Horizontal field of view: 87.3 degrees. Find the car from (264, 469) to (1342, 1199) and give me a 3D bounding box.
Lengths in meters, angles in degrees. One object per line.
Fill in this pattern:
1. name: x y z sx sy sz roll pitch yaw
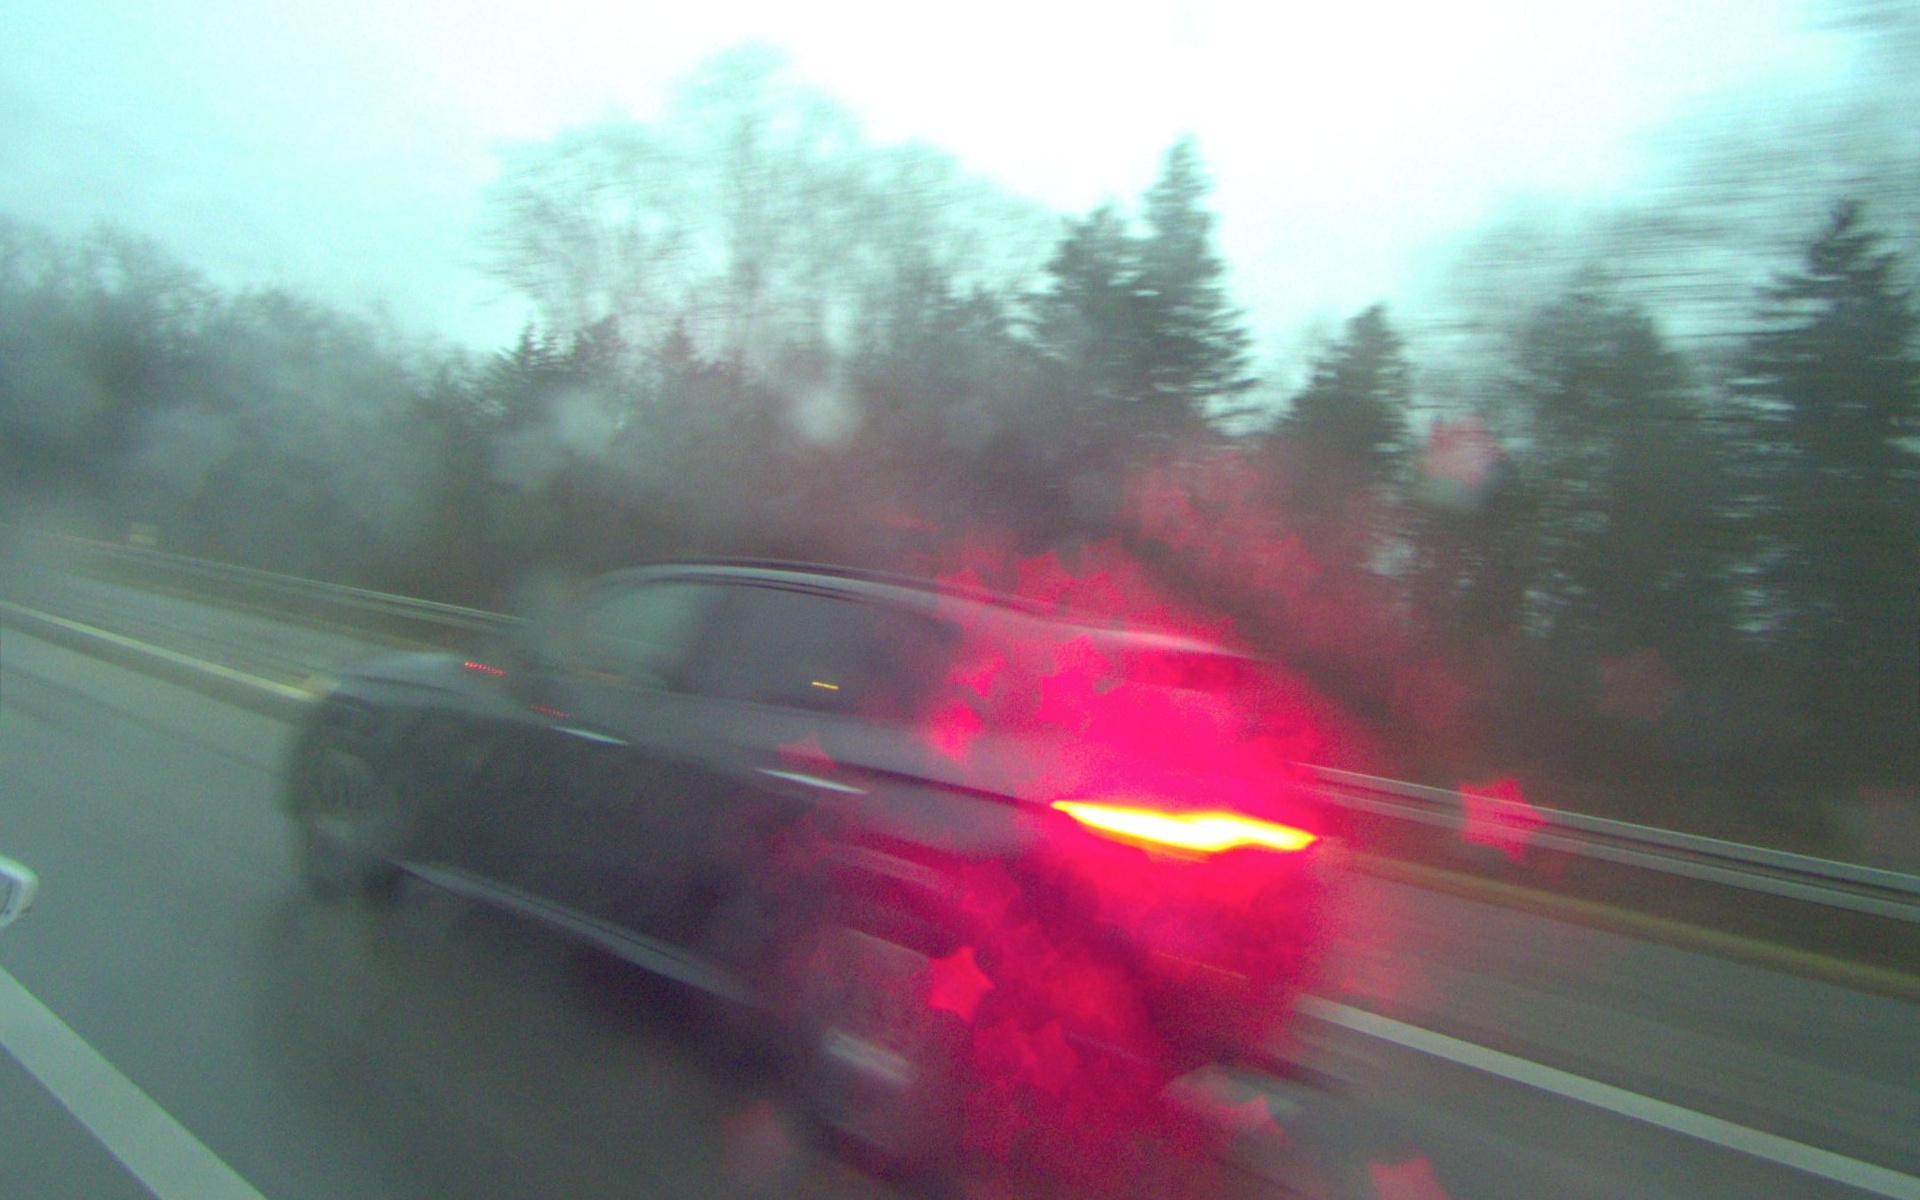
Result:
1. car: -0.739 0.612 4.123 3.875 1.812 1.928 6 -2 31
